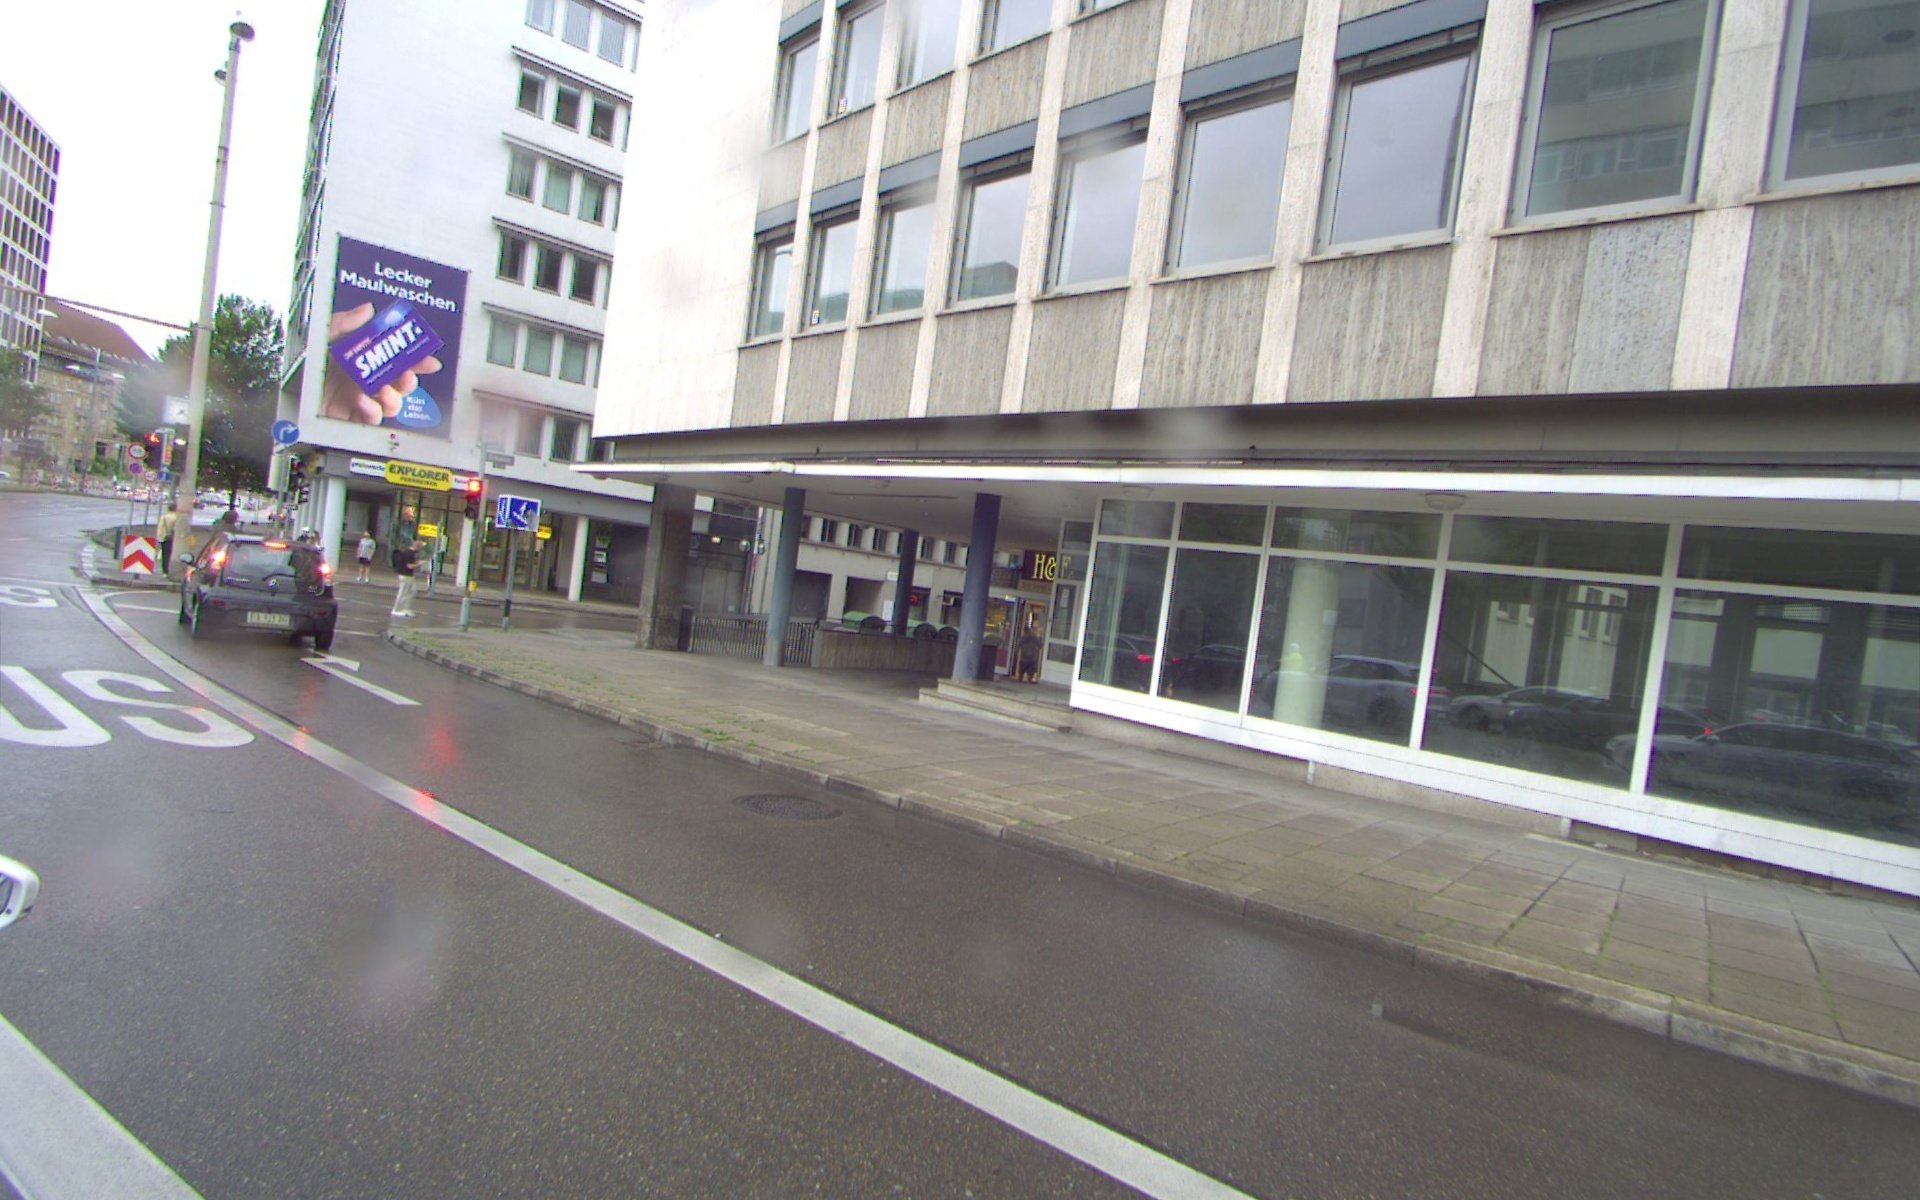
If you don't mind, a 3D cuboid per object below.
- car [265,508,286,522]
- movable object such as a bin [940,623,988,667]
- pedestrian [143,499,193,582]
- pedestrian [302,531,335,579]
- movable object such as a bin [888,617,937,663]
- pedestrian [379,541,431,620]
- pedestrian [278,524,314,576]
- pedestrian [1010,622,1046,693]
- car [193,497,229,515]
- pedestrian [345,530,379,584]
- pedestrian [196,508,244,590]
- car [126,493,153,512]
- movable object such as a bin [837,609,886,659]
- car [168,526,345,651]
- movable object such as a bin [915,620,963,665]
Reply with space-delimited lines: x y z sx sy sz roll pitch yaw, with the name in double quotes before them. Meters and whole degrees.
"car" -91.732 -11.387 134.789 1.680 1.503 3.973 8 -2 -28
"movable object such as a bin" 0.155 1.641 36.632 1.095 1.399 1.186 7 1 -37
"pedestrian" -18.404 -1.386 23.390 0.745 1.820 0.808 7 1 -38
"pedestrian" -22.177 -1.556 34.802 0.616 1.561 0.651 8 0 -15
"movable object such as a bin" -1.670 1.383 35.221 1.095 1.399 1.186 7 1 -37
"pedestrian" -13.134 -0.453 23.807 0.768 1.752 0.589 7 0 -44
"pedestrian" -22.857 -1.723 34.640 0.660 1.675 0.651 8 0 -15
"pedestrian" 1.847 1.558 27.325 0.697 1.825 0.800 8 0 1
"car" -121.052 -15.207 162.608 3.942 2.037 1.993 8 -1 -17
"pedestrian" -21.005 -1.500 35.350 0.660 1.815 0.771 7 0 -15
"pedestrian" -17.549 -1.204 23.853 0.745 1.820 0.808 7 1 -38
"car" -92.482 -10.987 113.387 1.878 1.662 3.962 8 -1 -35
"movable object such as a bin" -3.279 1.134 33.531 0.961 1.447 1.268 7 1 -36
"car" -10.458 -0.231 14.835 1.566 1.446 3.953 9 -2 -42
"movable object such as a bin" -0.749 1.514 35.945 1.095 1.399 1.186 7 1 -37
